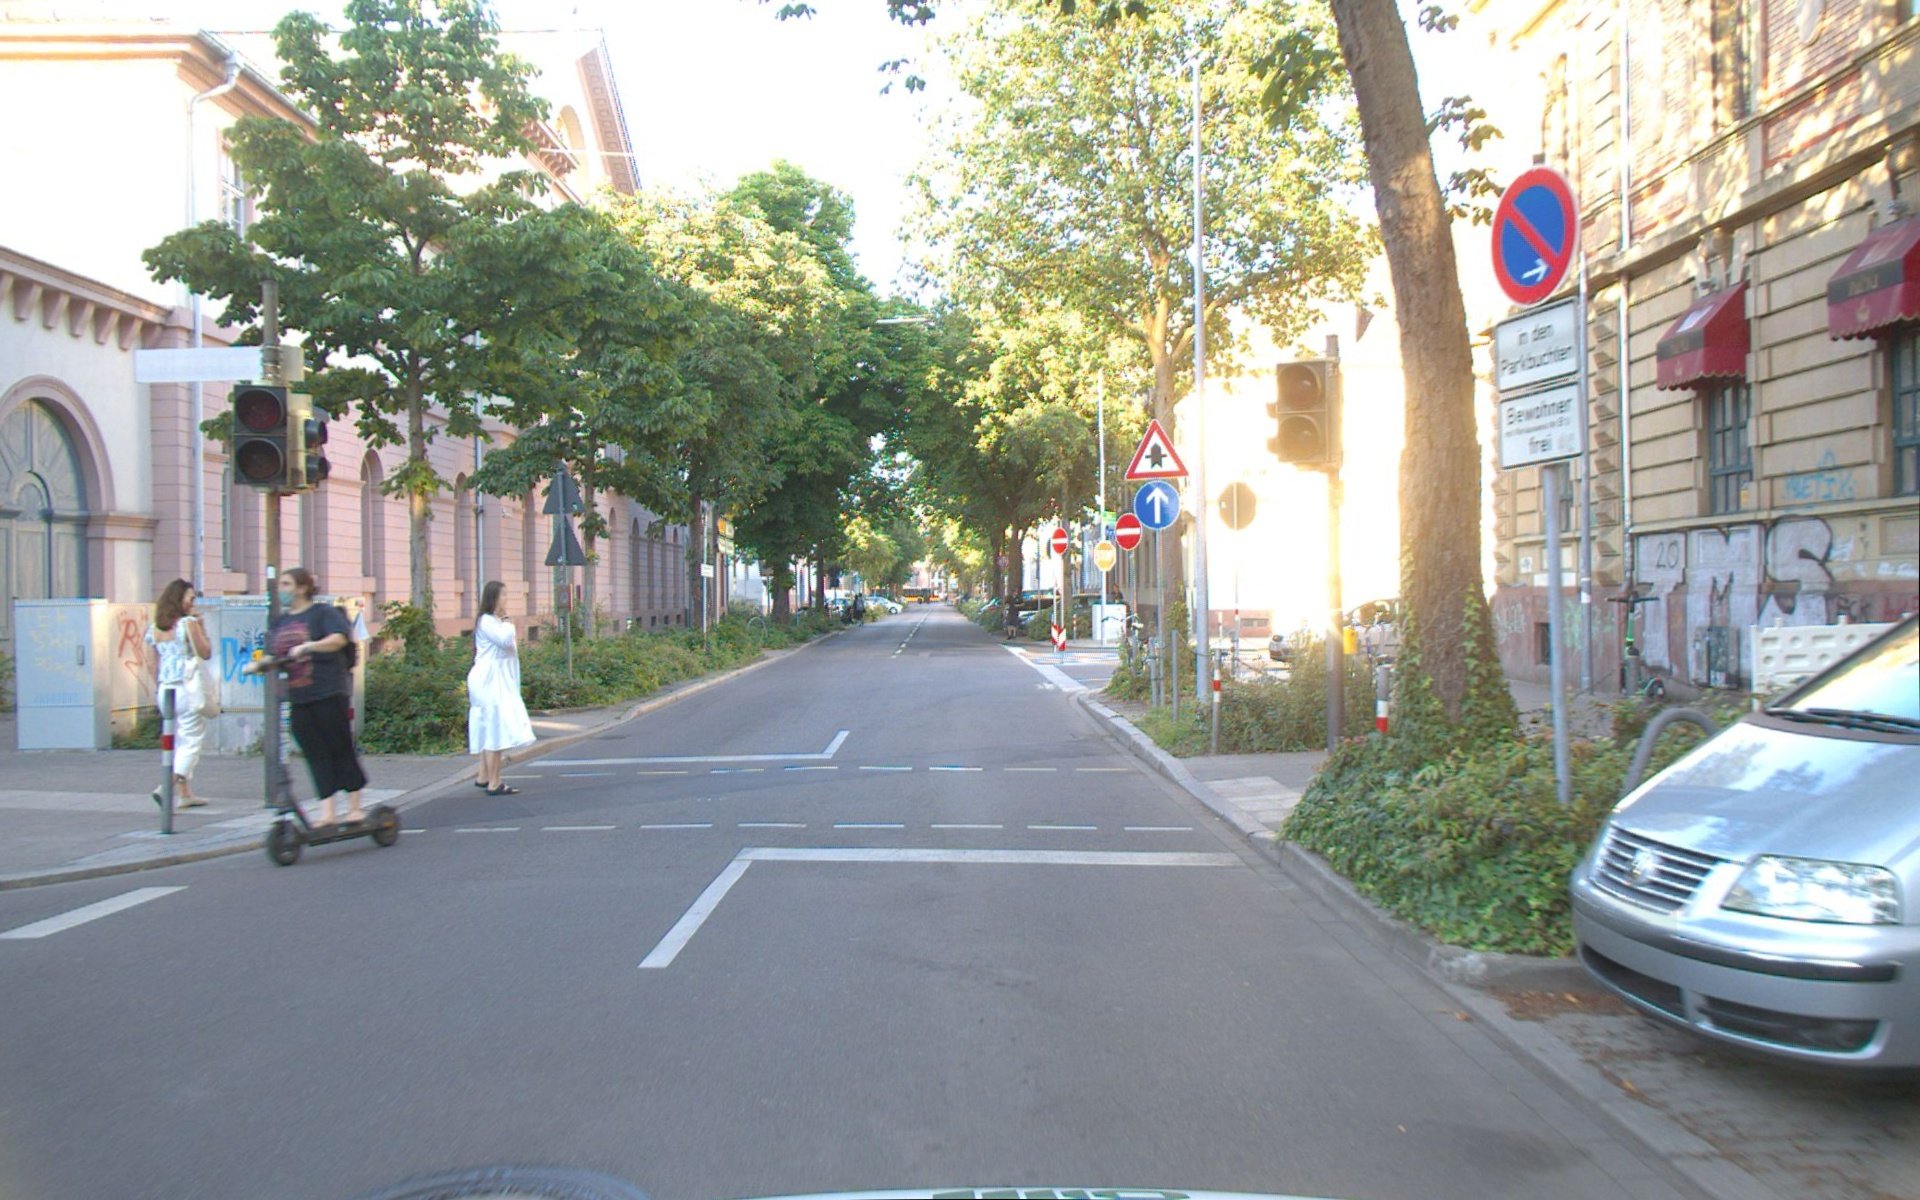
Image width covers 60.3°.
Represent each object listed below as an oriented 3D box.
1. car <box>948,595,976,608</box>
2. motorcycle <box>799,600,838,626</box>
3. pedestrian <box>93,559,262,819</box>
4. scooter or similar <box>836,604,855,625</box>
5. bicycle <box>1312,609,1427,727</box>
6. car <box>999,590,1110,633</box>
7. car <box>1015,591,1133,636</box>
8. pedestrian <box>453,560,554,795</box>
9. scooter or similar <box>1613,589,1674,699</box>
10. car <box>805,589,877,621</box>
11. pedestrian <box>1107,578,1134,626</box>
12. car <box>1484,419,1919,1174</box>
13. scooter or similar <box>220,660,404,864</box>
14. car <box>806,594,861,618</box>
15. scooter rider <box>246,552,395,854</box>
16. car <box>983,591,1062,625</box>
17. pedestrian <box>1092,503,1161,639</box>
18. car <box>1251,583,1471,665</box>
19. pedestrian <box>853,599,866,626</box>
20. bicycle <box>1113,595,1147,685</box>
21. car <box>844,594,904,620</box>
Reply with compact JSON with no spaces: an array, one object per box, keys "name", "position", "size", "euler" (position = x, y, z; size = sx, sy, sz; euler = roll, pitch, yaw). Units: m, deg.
[{"name":"car","position":[0.304,0.212,250.153],"size":[3.902,1.870,2.001],"euler":[-1,0,6]},{"name":"motorcycle","position":[-7.064,0.654,82.516],"size":[1.880,1.281,0.590],"euler":[-1,0,-1]},{"name":"pedestrian","position":[-5.777,0.626,12.239],"size":[0.774,1.822,0.771],"euler":[2,1,19]},{"name":"scooter or similar","position":[-5.996,0.741,86.847],"size":[0.877,1.108,0.846],"euler":[0,0,5]},{"name":"bicycle","position":[4.395,0.698,17.912],"size":[0.513,1.172,2.247],"euler":[-1,0,-5]},{"name":"car","position":[3.624,0.433,63.962],"size":[4.107,1.506,1.852],"euler":[-2,0,-1]},{"name":"car","position":[4.023,0.463,58.879],"size":[4.025,1.516,1.850],"euler":[0,1,-2]},{"name":"pedestrian","position":[-3.851,0.631,13.990],"size":[0.755,1.921,0.790],"euler":[-1,0,-13]},{"name":"scooter or similar","position":[7.811,0.488,18.926],"size":[0.246,1.215,1.092],"euler":[-1,1,0]},{"name":"car","position":[-8.453,0.333,117.687],"size":[4.961,2.119,2.262],"euler":[-1,0,-1]},{"name":"pedestrian","position":[5.926,0.068,61.012],"size":[0.923,1.736,0.782],"euler":[-1,1,1]},{"name":"car","position":[4.266,0.448,5.389],"size":[4.450,1.948,1.949],"euler":[-2,0,-3]},{"name":"scooter or similar","position":[-4.033,0.975,10.378],"size":[0.491,1.165,1.251],"euler":[-1,-1,10]},{"name":"car","position":[-8.552,0.427,112.291],"size":[3.652,1.534,1.871],"euler":[-1,0,-5]},{"name":"scooter rider","position":[-4.026,0.621,10.452],"size":[0.484,1.822,0.875],"euler":[-1,0,9]},{"name":"car","position":[3.207,0.402,84.974],"size":[3.933,1.651,1.780],"euler":[-1,0,-2]},{"name":"pedestrian","position":[2.735,-0.465,27.302],"size":[1.022,2.184,1.063],"euler":[0,-1,0]},{"name":"car","position":[8.624,0.494,35.789],"size":[4.253,1.683,1.884],"euler":[-1,0,-5]},{"name":"pedestrian","position":[-5.223,0.639,86.116],"size":[0.641,1.419,0.607],"euler":[0,-1,-1]},{"name":"bicycle","position":[2.729,0.624,26.524],"size":[0.407,1.396,1.289],"euler":[-1,0,10]},{"name":"car","position":[-7.441,0.571,143.152],"size":[4.960,2.119,2.263],"euler":[-1,0,1]}]
